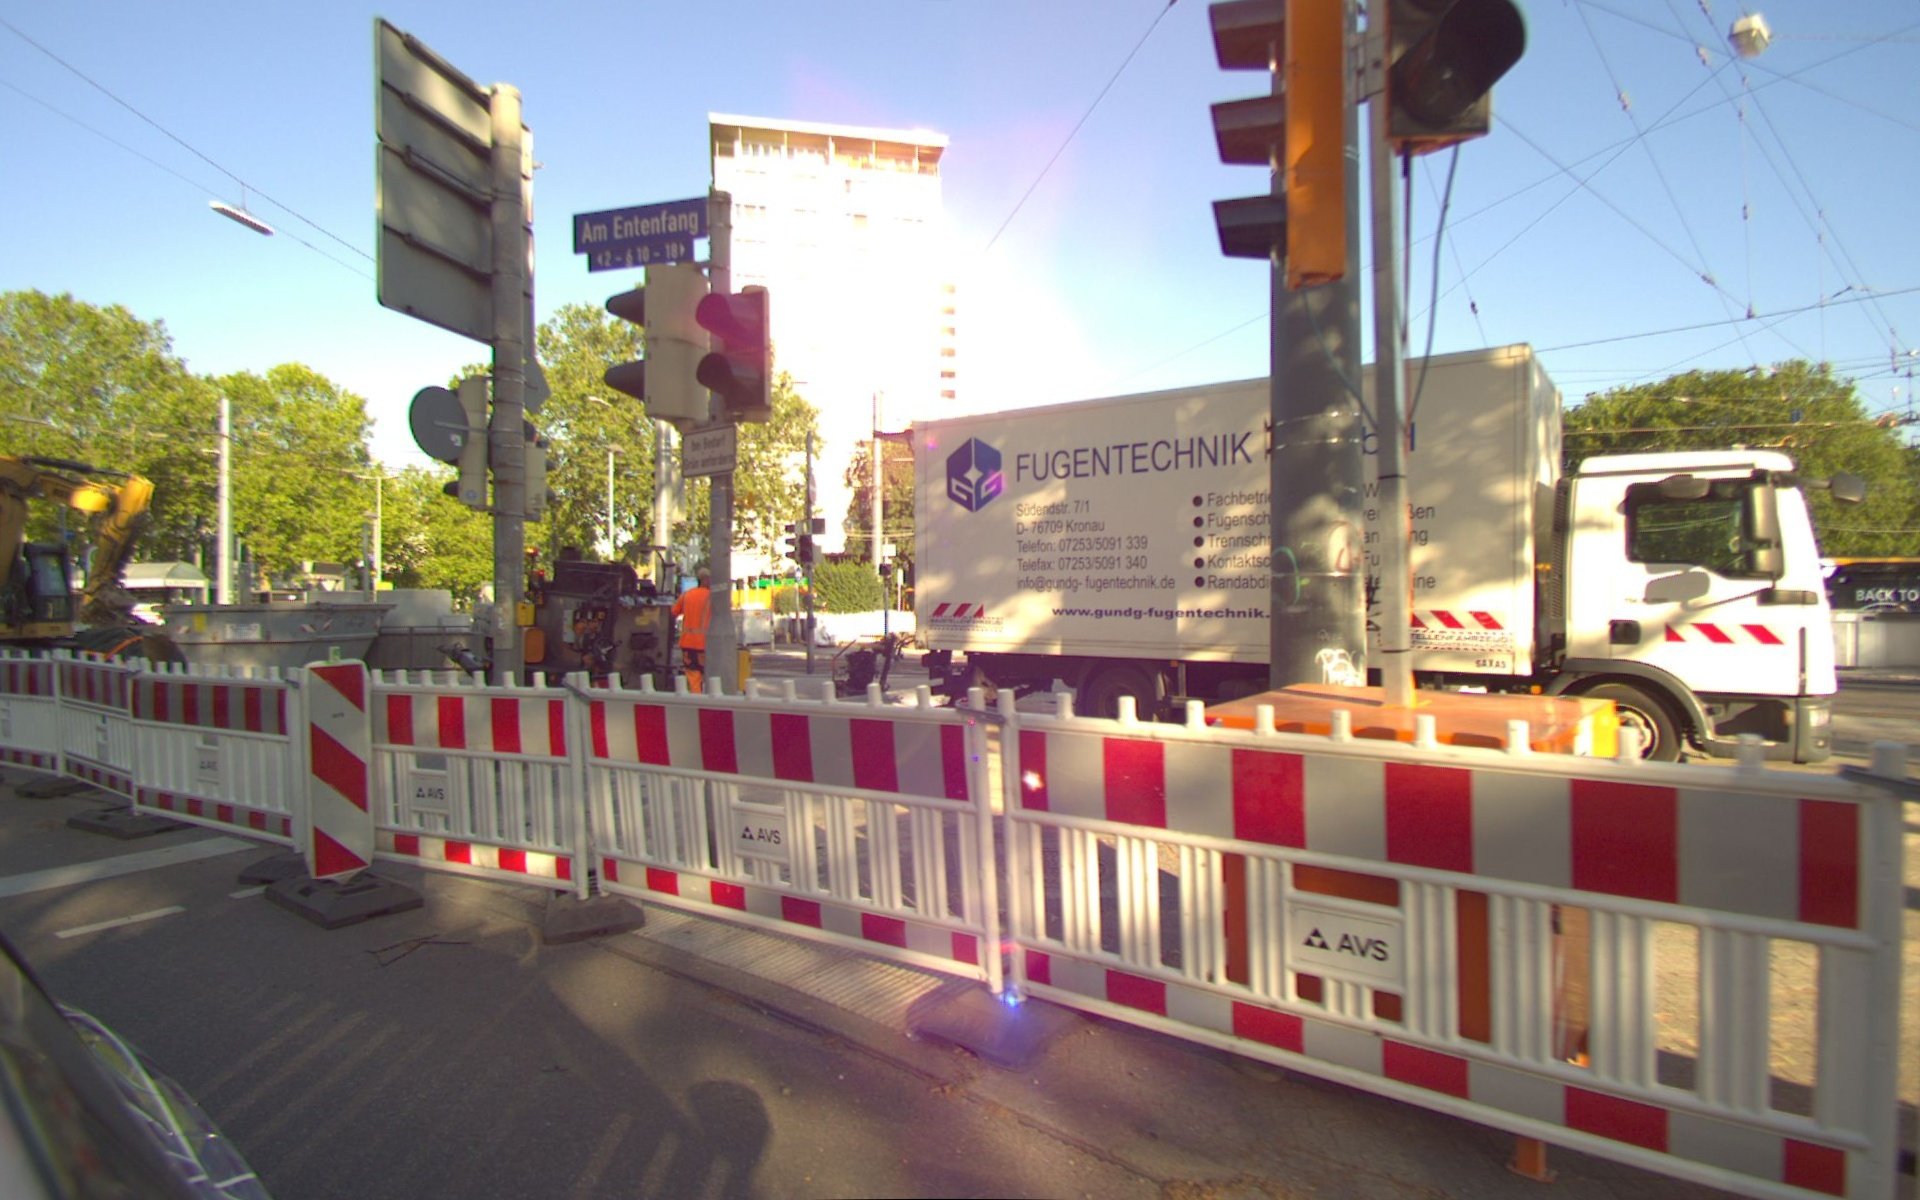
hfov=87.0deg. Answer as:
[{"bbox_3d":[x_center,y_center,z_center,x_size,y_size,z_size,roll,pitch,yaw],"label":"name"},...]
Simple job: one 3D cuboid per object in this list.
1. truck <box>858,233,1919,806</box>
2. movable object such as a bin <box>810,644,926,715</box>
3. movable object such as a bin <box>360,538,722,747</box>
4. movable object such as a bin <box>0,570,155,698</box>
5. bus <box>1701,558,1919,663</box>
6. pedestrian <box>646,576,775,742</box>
[{"bbox_3d":[3.277,-0.404,10.026,8.965,3.568,2.787,-2,-1,36],"label":"truck"},{"bbox_3d":[-1.264,1.090,14.105,1.405,0.924,0.932,-1,-1,11],"label":"movable object such as a bin"},{"bbox_3d":[-5.652,0.496,13.334,5.197,2.273,1.976,-2,0,36],"label":"movable object such as a bin"},{"bbox_3d":[-19.374,0.682,20.073,4.838,2.335,2.649,-1,-1,4],"label":"movable object such as a bin"},{"bbox_3d":[35.151,0.379,37.752,12.147,3.751,3.083,-1,-1,6],"label":"bus"},{"bbox_3d":[-2.879,0.658,11.719,1.064,1.812,0.967,-1,-1,26],"label":"pedestrian"}]
